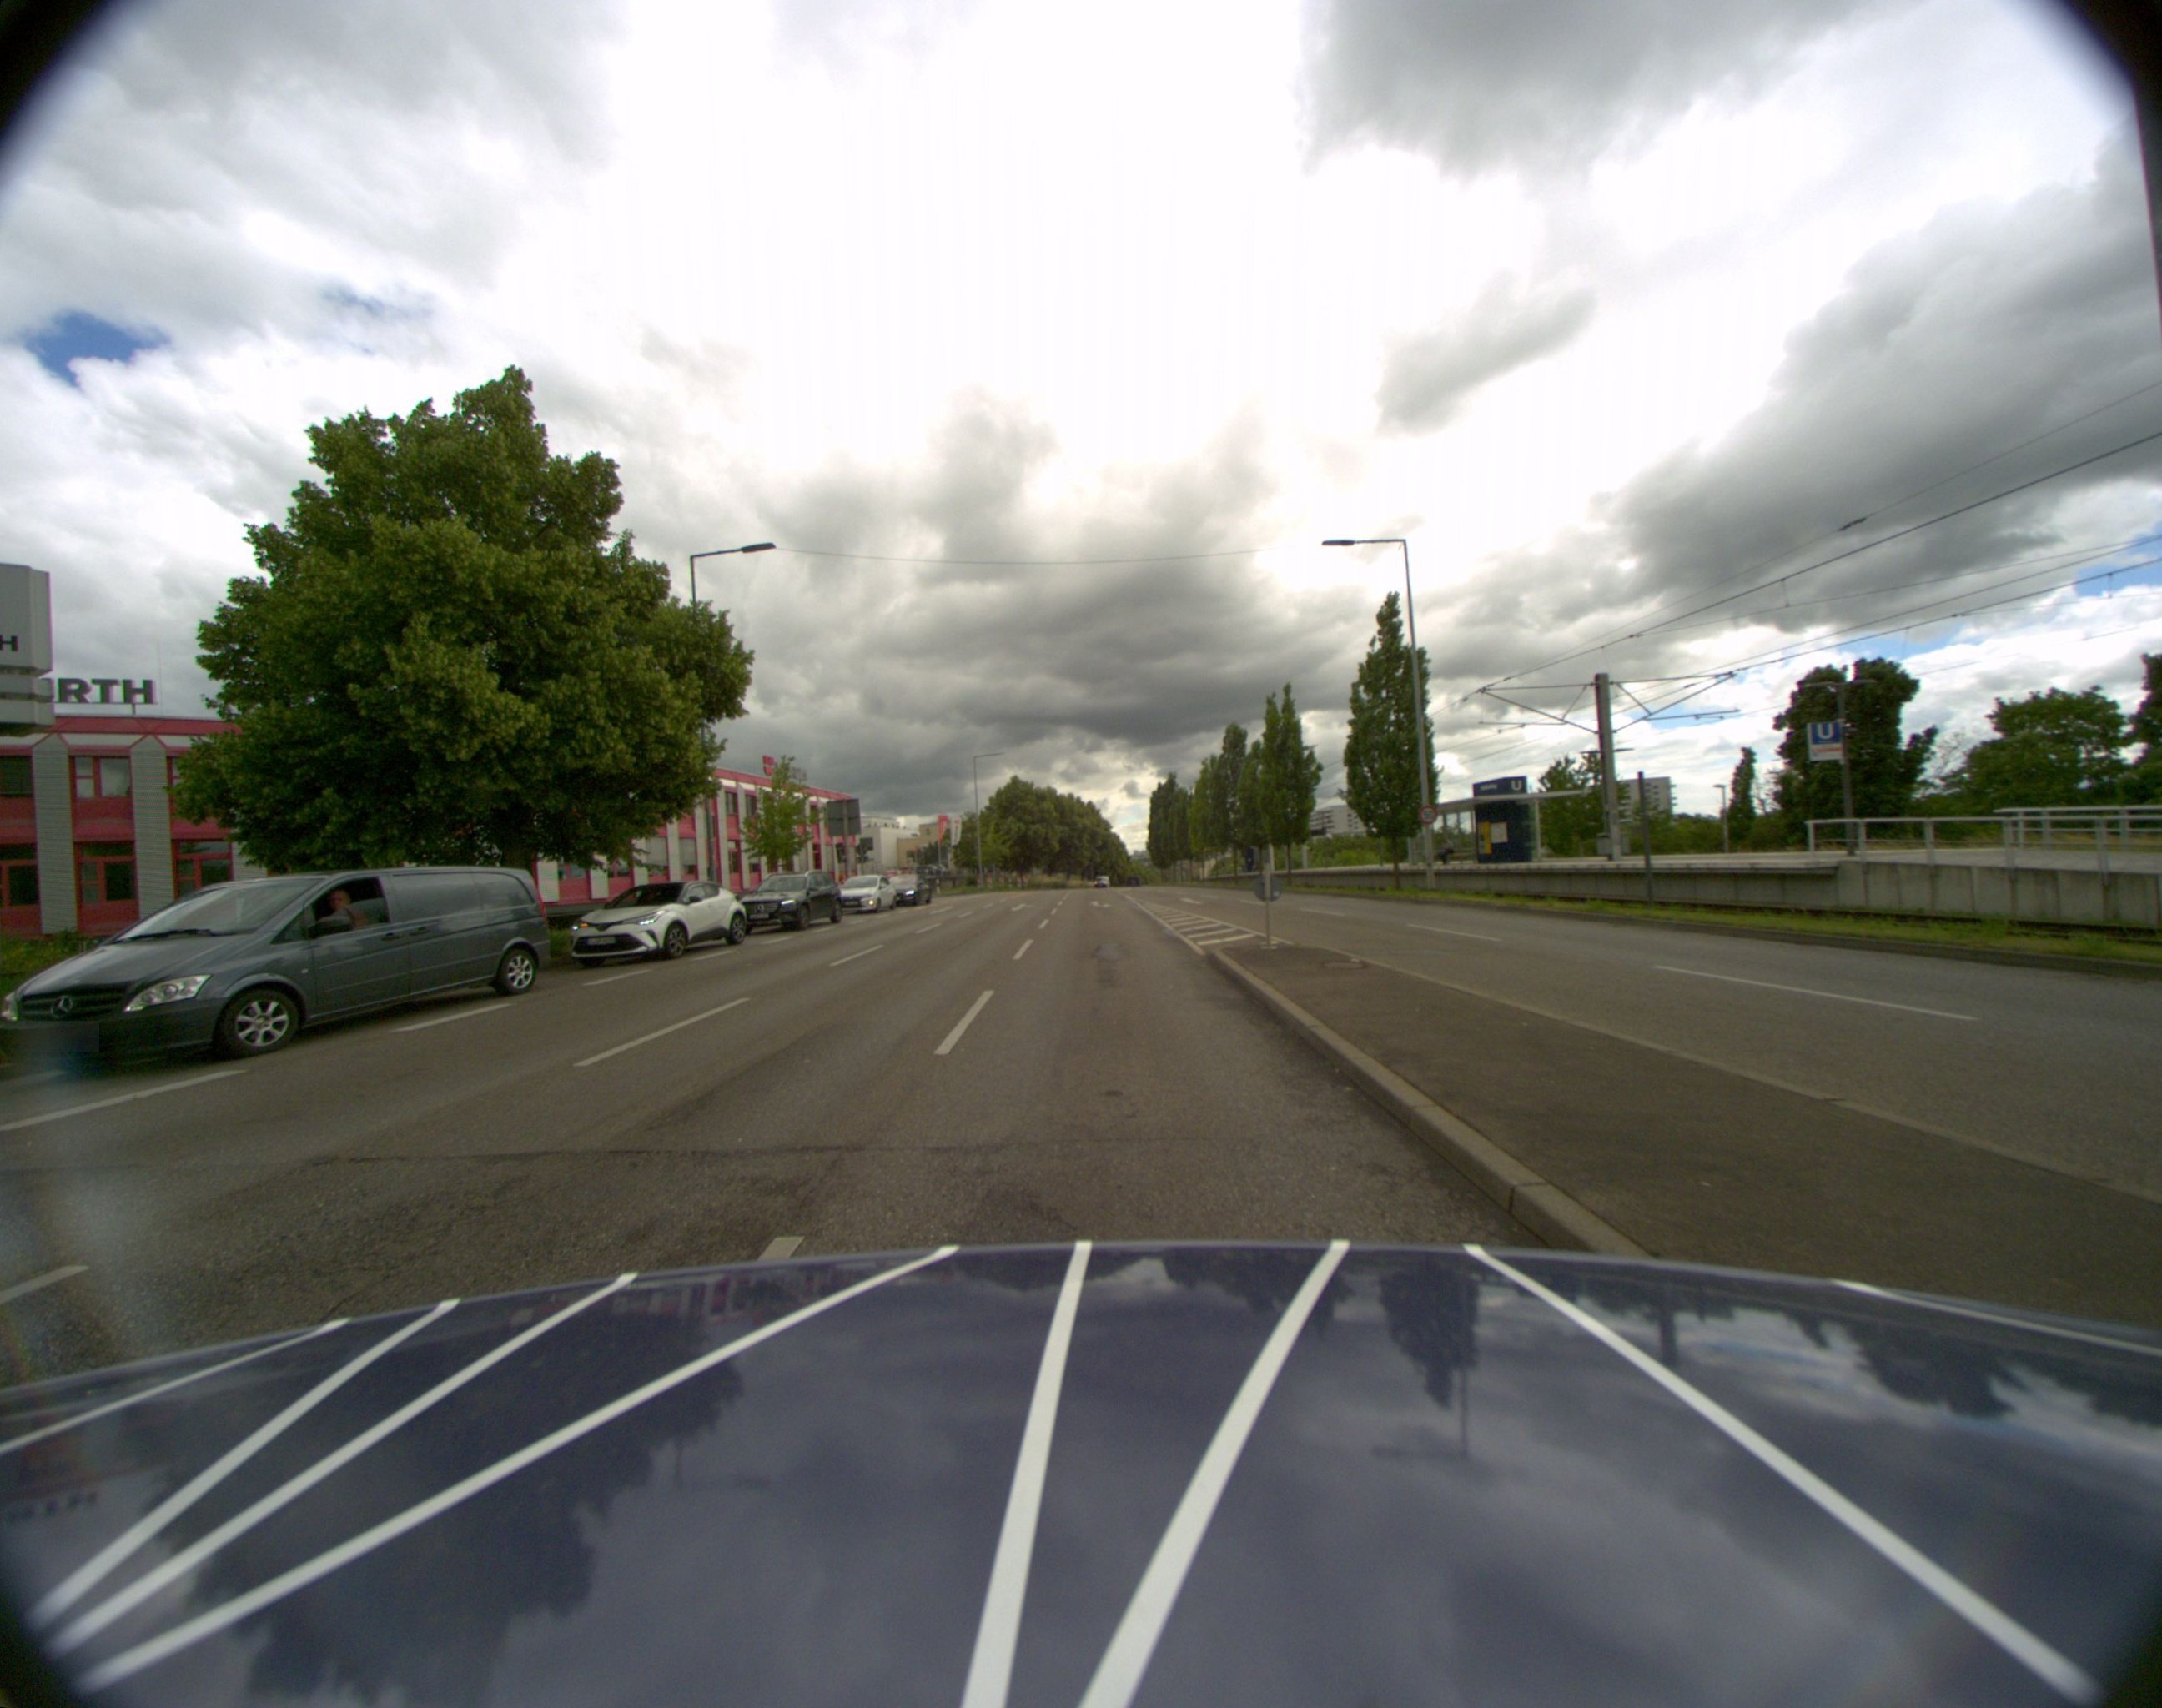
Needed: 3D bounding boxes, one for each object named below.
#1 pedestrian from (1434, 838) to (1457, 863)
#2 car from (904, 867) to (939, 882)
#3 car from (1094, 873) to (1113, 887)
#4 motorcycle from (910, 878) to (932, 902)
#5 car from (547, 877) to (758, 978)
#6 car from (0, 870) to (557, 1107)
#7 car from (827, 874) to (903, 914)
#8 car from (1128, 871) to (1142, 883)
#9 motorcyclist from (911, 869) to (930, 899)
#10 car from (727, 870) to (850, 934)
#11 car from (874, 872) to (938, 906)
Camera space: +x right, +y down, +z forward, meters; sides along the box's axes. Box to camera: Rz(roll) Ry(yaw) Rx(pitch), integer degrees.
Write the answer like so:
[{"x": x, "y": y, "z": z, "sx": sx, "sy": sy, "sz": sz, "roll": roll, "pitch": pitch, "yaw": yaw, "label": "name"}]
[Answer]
[{"x": 17.622, "y": -0.172, "z": 36.737, "sx": 0.663, "sy": 1.195, "sz": 0.782, "roll": -2, "pitch": 0, "yaw": -7, "label": "pedestrian"}, {"x": -21.215, "y": 2.690, "z": 101.010, "sx": 4.248, "sy": 1.744, "sz": 1.784, "roll": -2, "pitch": 0, "yaw": 2, "label": "car"}, {"x": 3.133, "y": 3.634, "z": 105.837, "sx": 1.998, "sy": 1.791, "sz": 4.842, "roll": -2, "pitch": 0, "yaw": 9, "label": "car"}, {"x": -8.322, "y": 1.862, "z": 39.516, "sx": 0.750, "sy": 1.140, "sz": 1.943, "roll": -4, "pitch": -1, "yaw": -3, "label": "motorcycle"}, {"x": -8.561, "y": 1.380, "z": 15.709, "sx": 1.785, "sy": 1.526, "sz": 4.305, "roll": -5, "pitch": 0, "yaw": 0, "label": "car"}, {"x": -8.843, "y": 1.226, "z": 8.849, "sx": 1.920, "sy": 1.823, "sz": 4.722, "roll": -5, "pitch": 0, "yaw": 2, "label": "car"}, {"x": -8.472, "y": 1.555, "z": 30.110, "sx": 1.785, "sy": 1.434, "sz": 3.836, "roll": -1, "pitch": -2, "yaw": 1, "label": "car"}, {"x": 7.907, "y": 3.348, "z": 111.293, "sx": 1.869, "sy": 1.674, "sz": 4.843, "roll": -2, "pitch": -3, "yaw": 6, "label": "car"}, {"x": -8.344, "y": 1.536, "z": 39.567, "sx": 0.750, "sy": 1.481, "sz": 0.933, "roll": -4, "pitch": -1, "yaw": -3, "label": "motorcyclist"}, {"x": -8.374, "y": 1.326, "z": 22.218, "sx": 1.785, "sy": 1.639, "sz": 4.427, "roll": -1, "pitch": -2, "yaw": 1, "label": "car"}, {"x": -8.020, "y": 1.591, "z": 35.210, "sx": 1.785, "sy": 1.437, "sz": 4.530, "roll": -1, "pitch": -2, "yaw": 1, "label": "car"}]
